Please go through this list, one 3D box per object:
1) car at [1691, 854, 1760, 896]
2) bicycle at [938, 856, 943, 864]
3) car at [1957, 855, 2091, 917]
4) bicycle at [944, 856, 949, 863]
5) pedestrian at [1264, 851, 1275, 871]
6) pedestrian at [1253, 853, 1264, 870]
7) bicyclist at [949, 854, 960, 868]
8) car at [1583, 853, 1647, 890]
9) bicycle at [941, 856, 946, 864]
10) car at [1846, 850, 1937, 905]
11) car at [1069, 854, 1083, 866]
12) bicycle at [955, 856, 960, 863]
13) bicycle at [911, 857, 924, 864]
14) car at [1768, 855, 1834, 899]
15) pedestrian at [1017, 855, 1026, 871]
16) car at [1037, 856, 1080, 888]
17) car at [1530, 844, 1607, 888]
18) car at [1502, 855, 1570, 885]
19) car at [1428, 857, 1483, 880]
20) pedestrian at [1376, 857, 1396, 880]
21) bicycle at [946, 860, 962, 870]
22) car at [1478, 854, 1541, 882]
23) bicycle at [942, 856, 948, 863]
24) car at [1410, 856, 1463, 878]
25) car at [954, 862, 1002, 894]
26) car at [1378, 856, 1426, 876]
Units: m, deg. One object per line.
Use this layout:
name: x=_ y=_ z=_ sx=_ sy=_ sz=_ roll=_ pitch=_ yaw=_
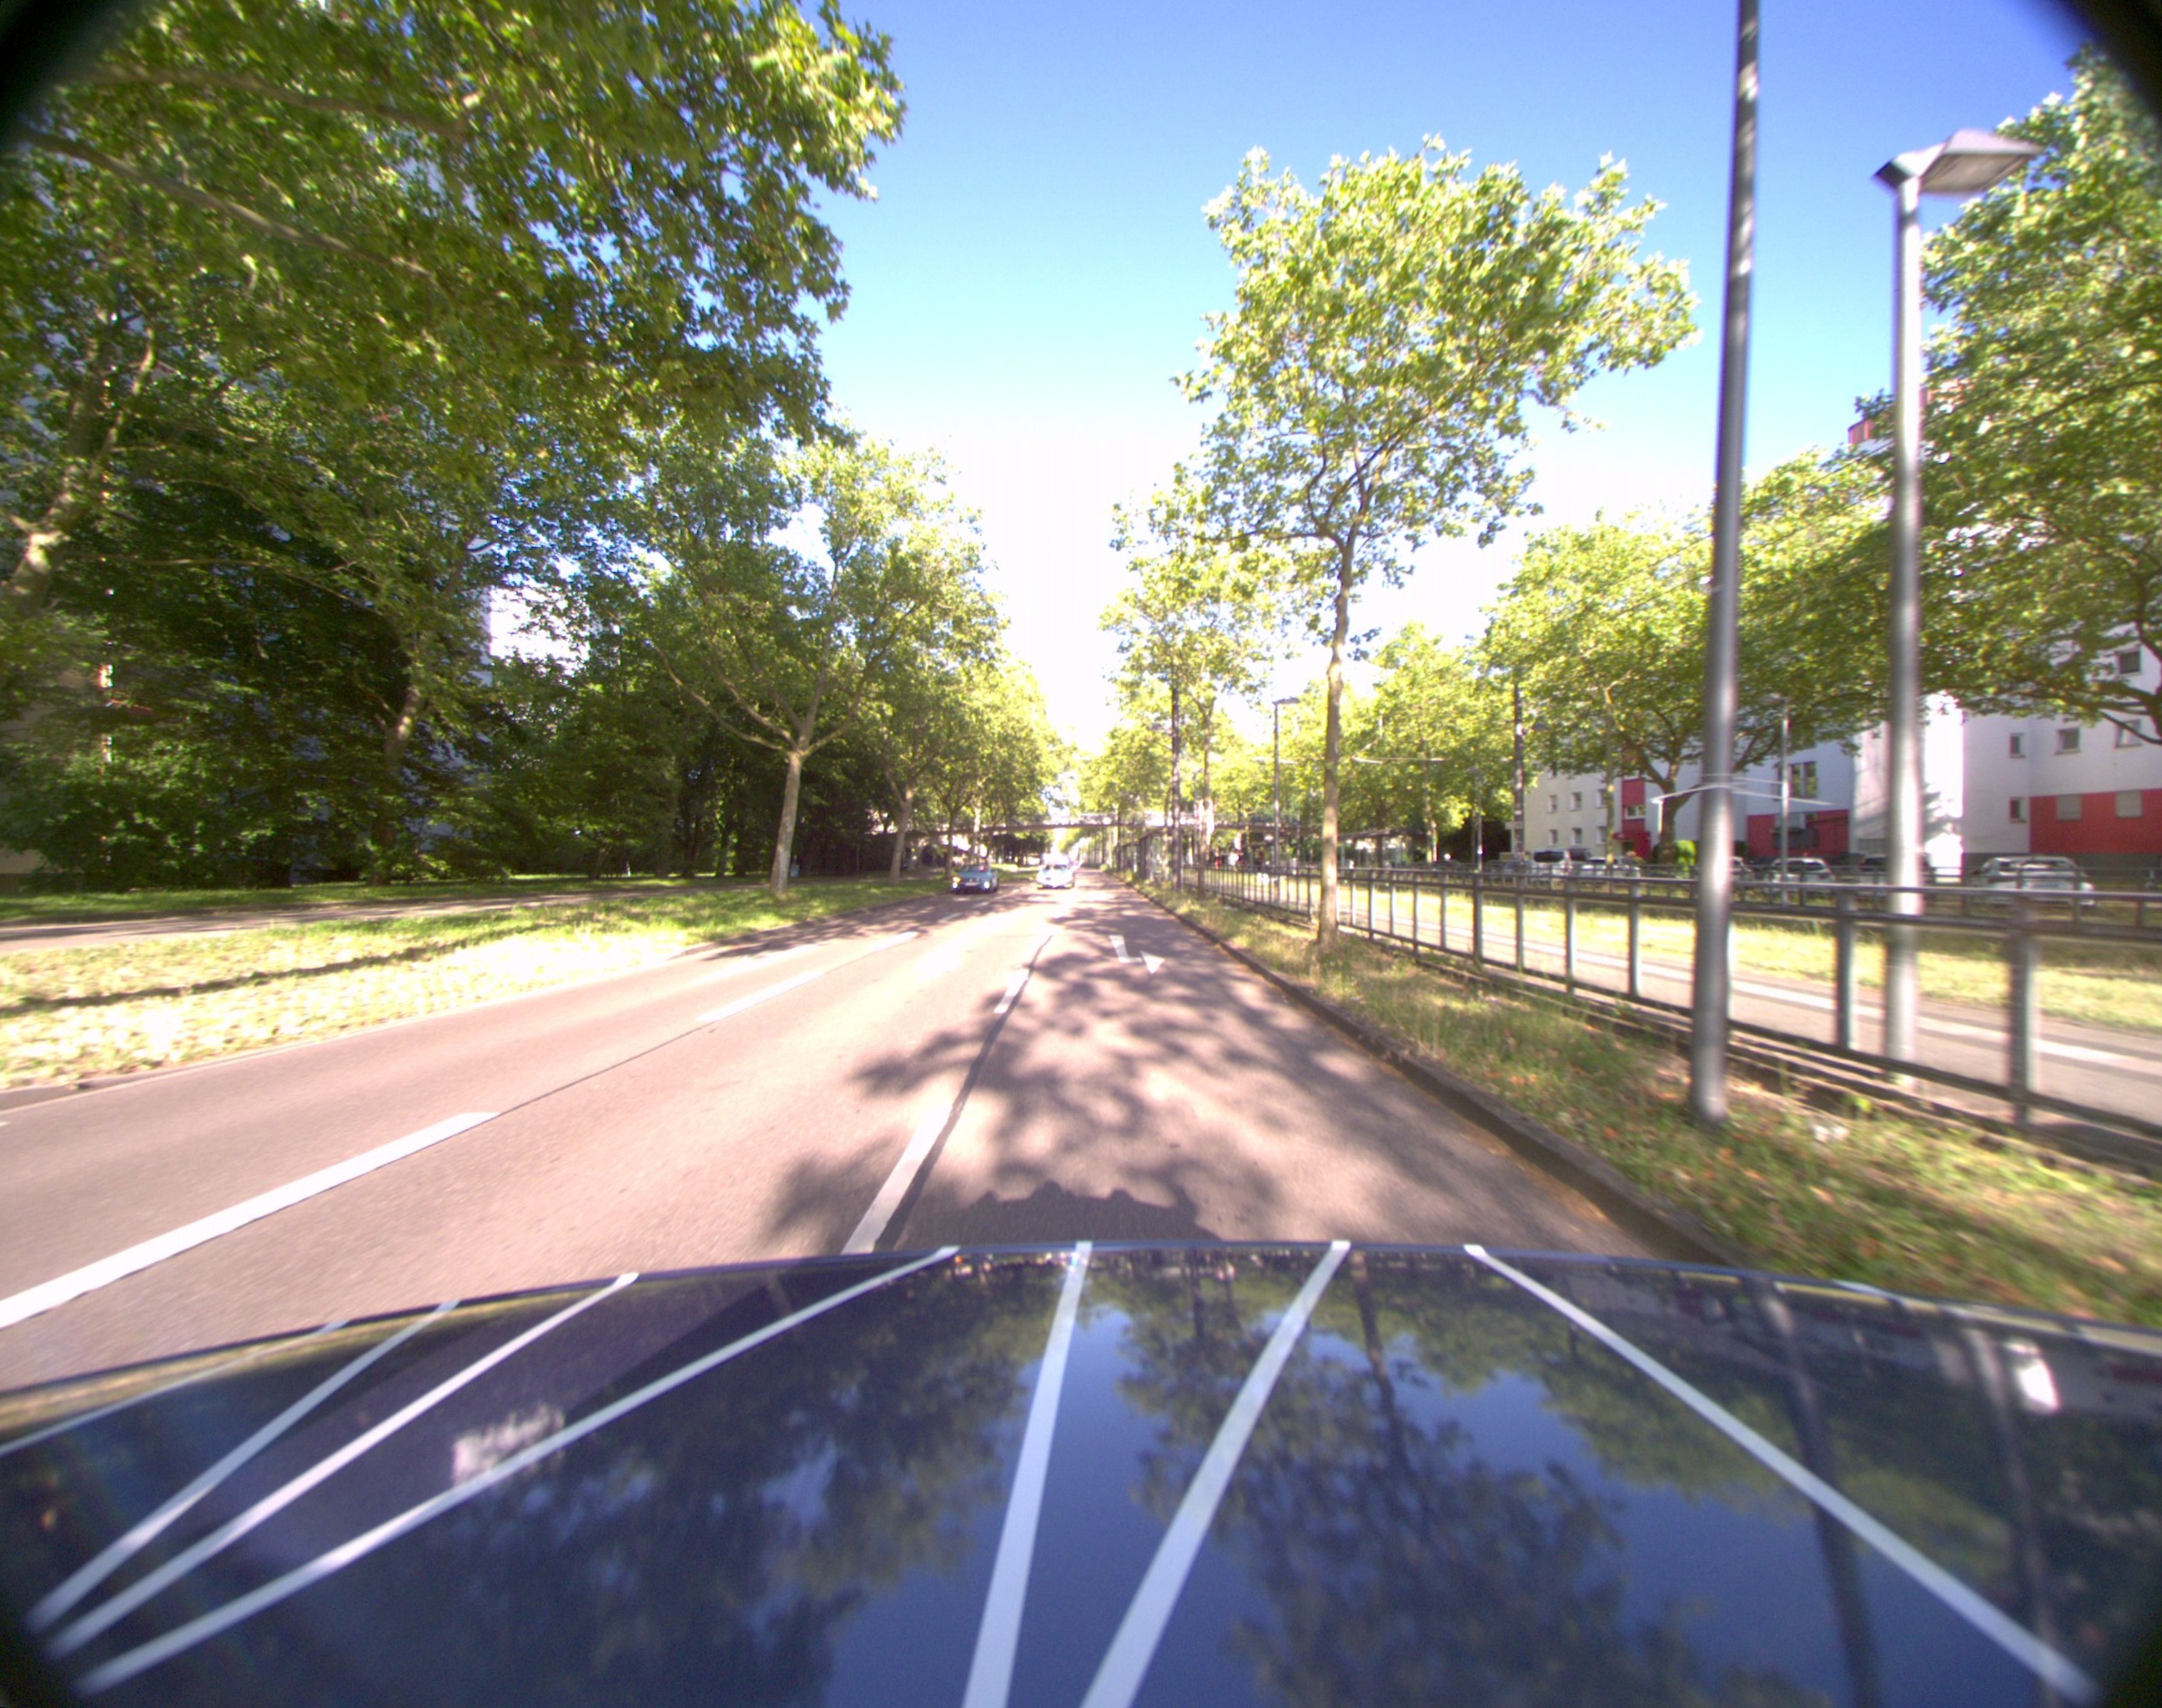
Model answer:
car: x=25.326 y=0.776 z=29.813 sx=1.895 sy=1.495 sz=4.510 roll=-2 pitch=-1 yaw=42
bicycle: x=-22.116 y=0.926 z=119.623 sx=0.577 sy=1.246 sz=1.806 roll=-1 pitch=0 yaw=-2
car: x=24.721 y=0.779 z=20.066 sx=1.571 sy=1.465 sz=4.068 roll=-2 pitch=-1 yaw=42
bicycle: x=-22.982 y=0.900 z=130.193 sx=0.577 sy=1.246 sz=1.806 roll=-1 pitch=0 yaw=-2
pedestrian: x=16.045 y=0.600 z=64.822 sx=0.731 sy=1.625 sz=0.715 roll=1 pitch=1 yaw=-2
pedestrian: x=15.233 y=0.650 z=65.314 sx=0.644 sy=1.505 sz=0.683 roll=1 pitch=0 yaw=-12
bicyclist: x=-15.513 y=0.895 z=92.861 sx=0.954 sy=1.622 sz=0.817 roll=2 pitch=0 yaw=36
car: x=25.447 y=0.814 z=36.184 sx=4.068 sy=1.601 sz=1.685 roll=-1 pitch=-1 yaw=-43
bicycle: x=-22.376 y=0.916 z=123.614 sx=0.577 sy=1.246 sz=1.806 roll=-1 pitch=0 yaw=-2
car: x=25.202 y=0.695 z=23.731 sx=1.571 sy=1.559 sz=4.068 roll=-2 pitch=-1 yaw=42
car: x=-0.711 y=0.856 z=111.057 sx=1.899 sy=1.601 sz=3.999 roll=-1 pitch=0 yaw=0
bicycle: x=-21.456 y=0.928 z=132.306 sx=0.577 sy=1.246 sz=1.806 roll=-1 pitch=0 yaw=-2
bicycle: x=-25.346 y=1.018 z=117.825 sx=1.806 sy=1.109 sz=0.710 roll=0 pitch=2 yaw=-8
car: x=25.407 y=0.788 z=26.900 sx=1.571 sy=1.424 sz=4.068 roll=-2 pitch=-1 yaw=42
pedestrian: x=-6.618 y=0.970 z=84.370 sx=0.658 sy=1.766 sz=0.741 roll=-1 pitch=-1 yaw=37
car: x=-1.195 y=0.957 z=41.677 sx=1.897 sy=1.623 sz=4.503 roll=-1 pitch=0 yaw=4
car: x=25.023 y=0.593 z=38.978 sx=4.508 sy=2.051 sz=1.895 roll=-1 pitch=-1 yaw=-38
car: x=25.424 y=0.867 z=42.396 sx=4.509 sy=1.489 sz=1.895 roll=-1 pitch=-1 yaw=-41
car: x=25.622 y=0.966 z=51.956 sx=4.208 sy=1.420 sz=1.696 roll=-1 pitch=-1 yaw=-38
pedestrian: x=15.392 y=0.716 z=38.308 sx=0.696 sy=1.121 sz=0.662 roll=3 pitch=1 yaw=1
bicycle: x=-15.574 y=1.302 z=92.889 sx=1.831 sy=1.140 sz=0.817 roll=2 pitch=-1 yaw=36
car: x=25.914 y=0.840 z=45.896 sx=4.509 sy=1.489 sz=1.895 roll=-1 pitch=-1 yaw=-41
bicycle: x=-22.509 y=0.911 z=125.687 sx=0.577 sy=1.246 sz=1.806 roll=-1 pitch=0 yaw=-2
car: x=25.673 y=0.953 z=54.799 sx=4.208 sy=1.420 sz=1.696 roll=-1 pitch=-1 yaw=-38
car: x=-5.046 y=1.142 z=37.813 sx=1.780 sy=1.474 sz=4.100 roll=-2 pitch=-1 yaw=0
car: x=26.044 y=0.947 z=61.529 sx=4.208 sy=1.420 sz=1.696 roll=-1 pitch=-1 yaw=-38
